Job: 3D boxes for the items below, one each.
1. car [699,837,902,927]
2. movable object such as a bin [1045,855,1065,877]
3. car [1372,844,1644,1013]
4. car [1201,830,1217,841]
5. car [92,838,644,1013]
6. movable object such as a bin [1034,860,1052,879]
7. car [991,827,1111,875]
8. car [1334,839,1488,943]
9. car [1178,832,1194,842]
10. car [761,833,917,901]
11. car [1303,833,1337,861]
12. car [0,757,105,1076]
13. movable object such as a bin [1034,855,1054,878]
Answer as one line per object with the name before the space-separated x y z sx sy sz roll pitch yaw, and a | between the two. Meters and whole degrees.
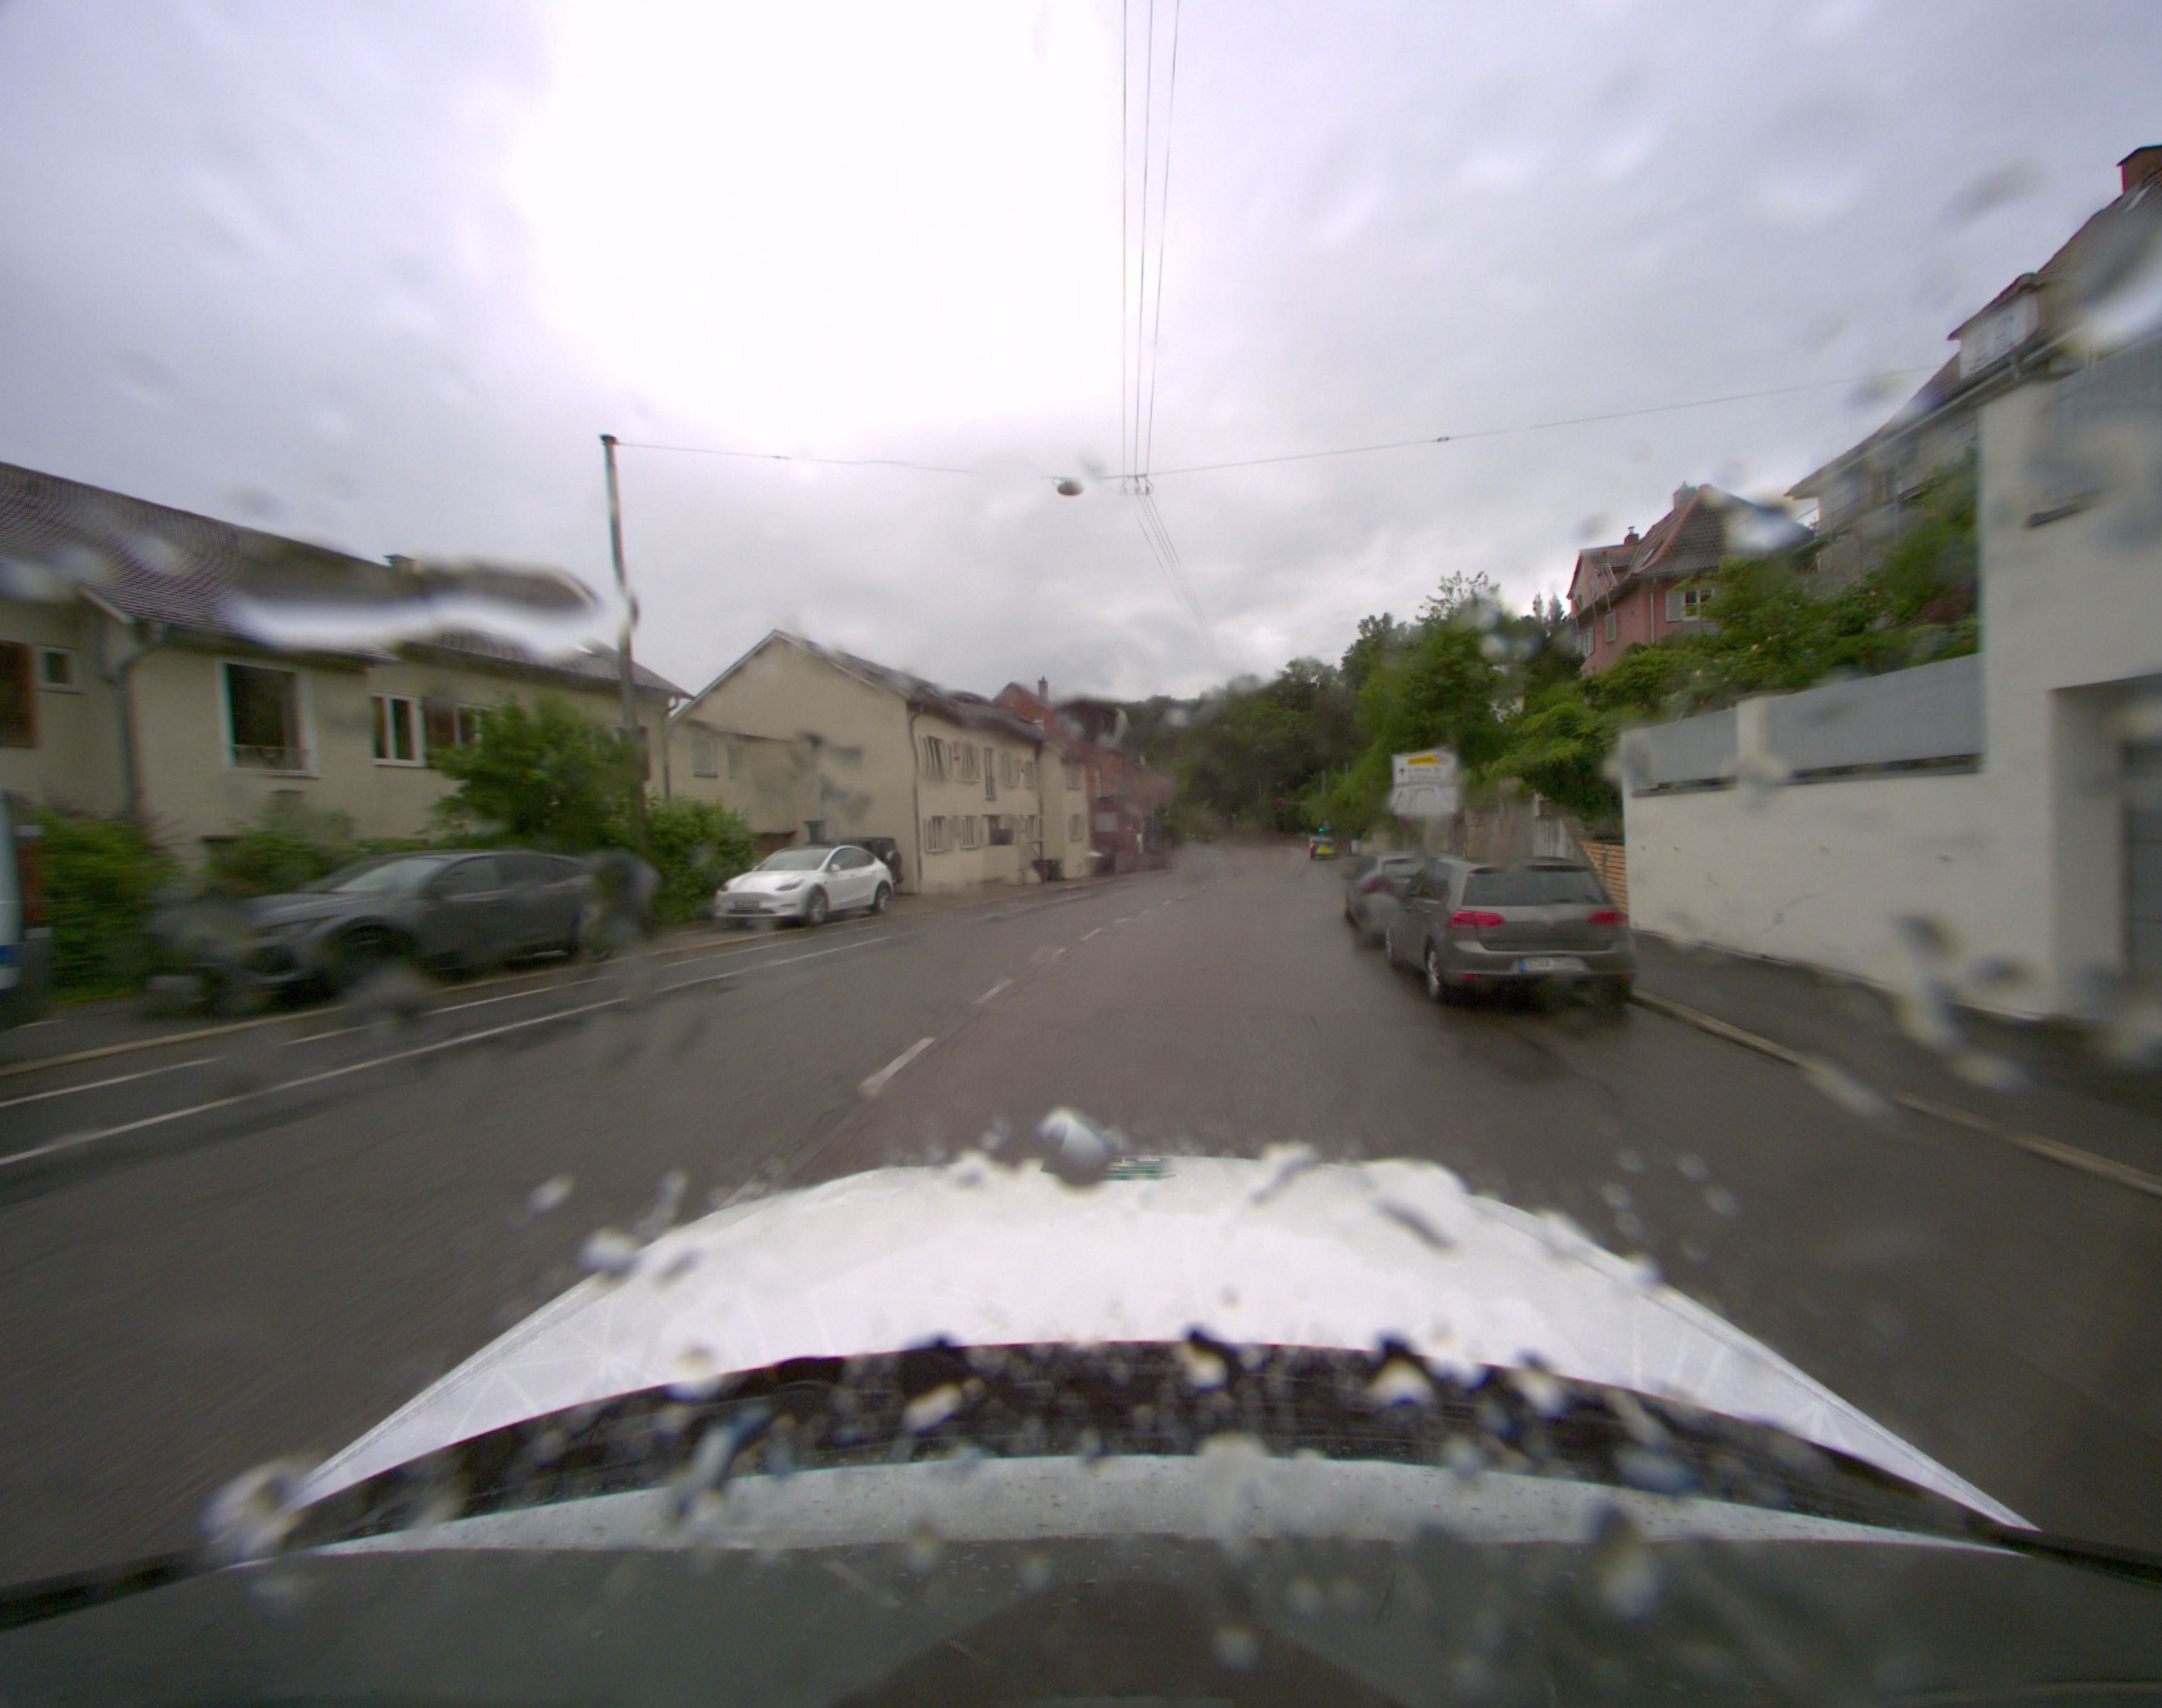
car | -5.719 0.519 17.356 1.916 1.631 4.693 -1 0 12
movable object such as a bin | -1.272 0.581 40.172 0.775 1.046 0.741 -1 0 16
car | 4.490 0.635 9.265 1.630 1.436 4.187 -1 1 12
car | 20.085 -2.962 127.845 1.736 1.549 3.999 -5 3 -1
car | -7.422 0.608 9.276 1.796 1.476 4.536 -1 0 11
movable object such as a bin | -1.794 0.712 38.376 0.668 0.859 0.711 -1 0 16
car | -1.770 -0.134 47.844 6.603 2.554 2.177 -2 -1 16
car | 5.485 0.534 14.122 1.776 1.496 4.723 -1 0 14
car | 17.348 -2.833 134.282 1.737 1.550 3.996 -6 2 -3
car | -7.910 0.415 26.759 4.458 2.013 1.895 -2 1 12
car | 17.857 -0.527 61.080 2.291 1.939 4.342 -2 0 15
car | -8.159 0.432 3.398 1.839 2.079 5.028 -1 0 6
movable object such as a bin | -1.778 0.598 39.401 0.775 1.046 0.711 -1 0 16
